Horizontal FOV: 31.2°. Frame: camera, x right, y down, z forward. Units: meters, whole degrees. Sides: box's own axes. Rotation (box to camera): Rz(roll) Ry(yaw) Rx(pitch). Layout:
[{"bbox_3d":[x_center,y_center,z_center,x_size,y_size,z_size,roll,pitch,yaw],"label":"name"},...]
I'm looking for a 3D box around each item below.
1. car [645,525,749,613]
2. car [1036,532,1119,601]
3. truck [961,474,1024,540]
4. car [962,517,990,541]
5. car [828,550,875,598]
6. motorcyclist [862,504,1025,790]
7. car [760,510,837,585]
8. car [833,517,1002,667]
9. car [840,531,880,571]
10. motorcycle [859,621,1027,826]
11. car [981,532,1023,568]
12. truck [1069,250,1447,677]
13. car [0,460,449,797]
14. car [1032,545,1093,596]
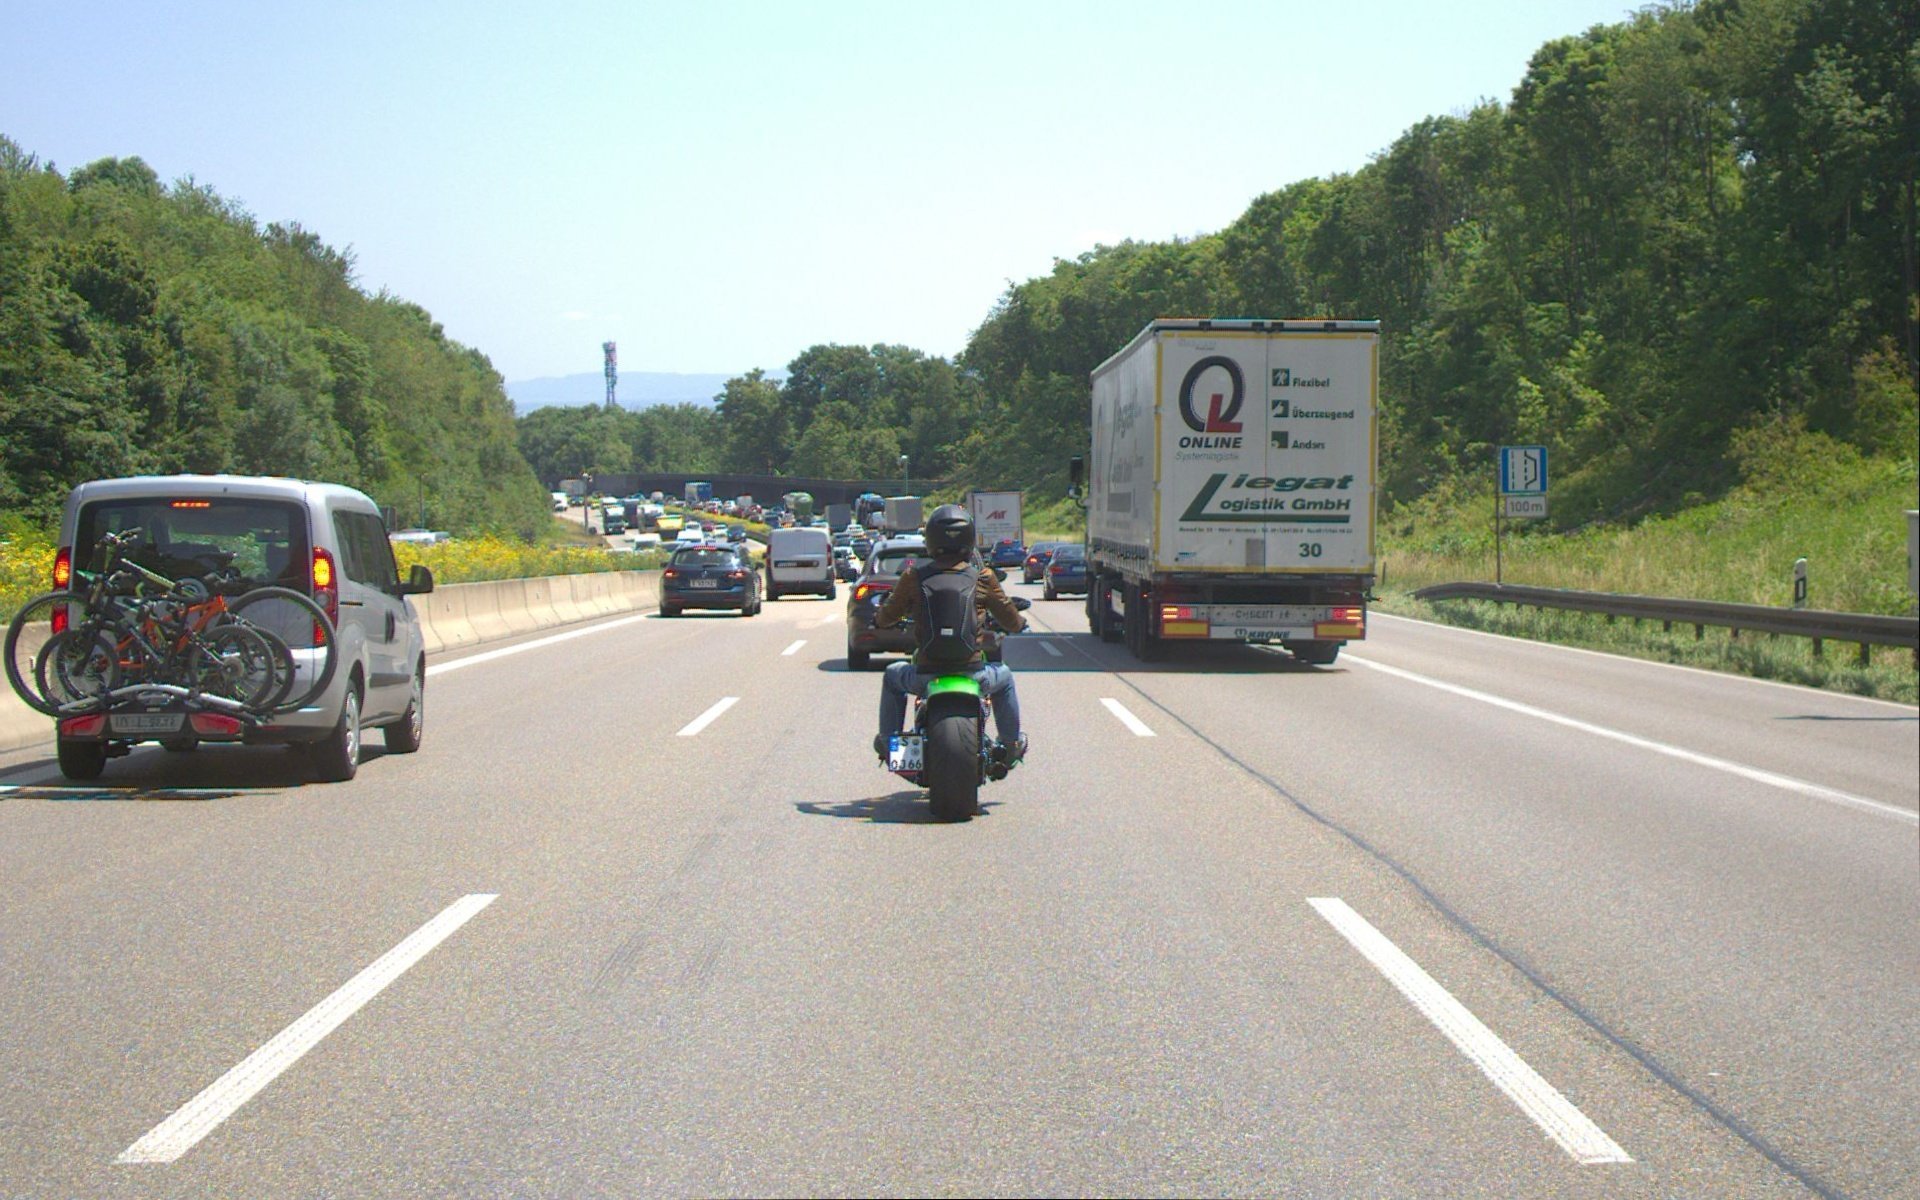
[{"bbox_3d":[-5.097,-0.635,67.114,1.758,1.538,4.396,1,2,-1],"label":"car"},{"bbox_3d":[2.888,-0.845,85.146,1.831,1.553,4.121,1,2,-1],"label":"car"},{"bbox_3d":[1.676,-4.985,183.345,3.067,3.335,9.653,1,2,-1],"label":"truck"},{"bbox_3d":[1.088,-4.941,238.798,1.831,1.553,4.121,1,2,-1],"label":"car"},{"bbox_3d":[-4.493,-1.088,142.781,1.831,1.804,4.121,1,2,-1],"label":"car"},{"bbox_3d":[-0.084,0.236,18.601,0.856,1.509,0.914,0,1,0],"label":"motorcyclist"},{"bbox_3d":[-4.169,-1.392,89.237,1.831,1.804,4.121,1,2,-1],"label":"car"},{"bbox_3d":[-0.507,-0.140,40.195,1.845,1.552,4.440,1,2,-1],"label":"car"},{"bbox_3d":[-4.781,-2.355,164.684,1.831,1.804,4.121,1,2,-1],"label":"car"},{"bbox_3d":[-0.083,0.642,18.763,0.862,0.978,2.131,0,2,0],"label":"motorcycle"},{"bbox_3d":[1.979,-2.389,162.450,1.831,1.553,4.121,1,2,-1],"label":"car"},{"bbox_3d":[3.630,-1.857,47.525,3.383,4.701,17.711,1,2,-1],"label":"truck"},{"bbox_3d":[-4.542,0.094,21.683,1.898,1.841,5.484,1,1,-1],"label":"car"},{"bbox_3d":[3.403,-0.995,114.819,1.831,1.553,4.121,1,2,-1],"label":"car"}]
